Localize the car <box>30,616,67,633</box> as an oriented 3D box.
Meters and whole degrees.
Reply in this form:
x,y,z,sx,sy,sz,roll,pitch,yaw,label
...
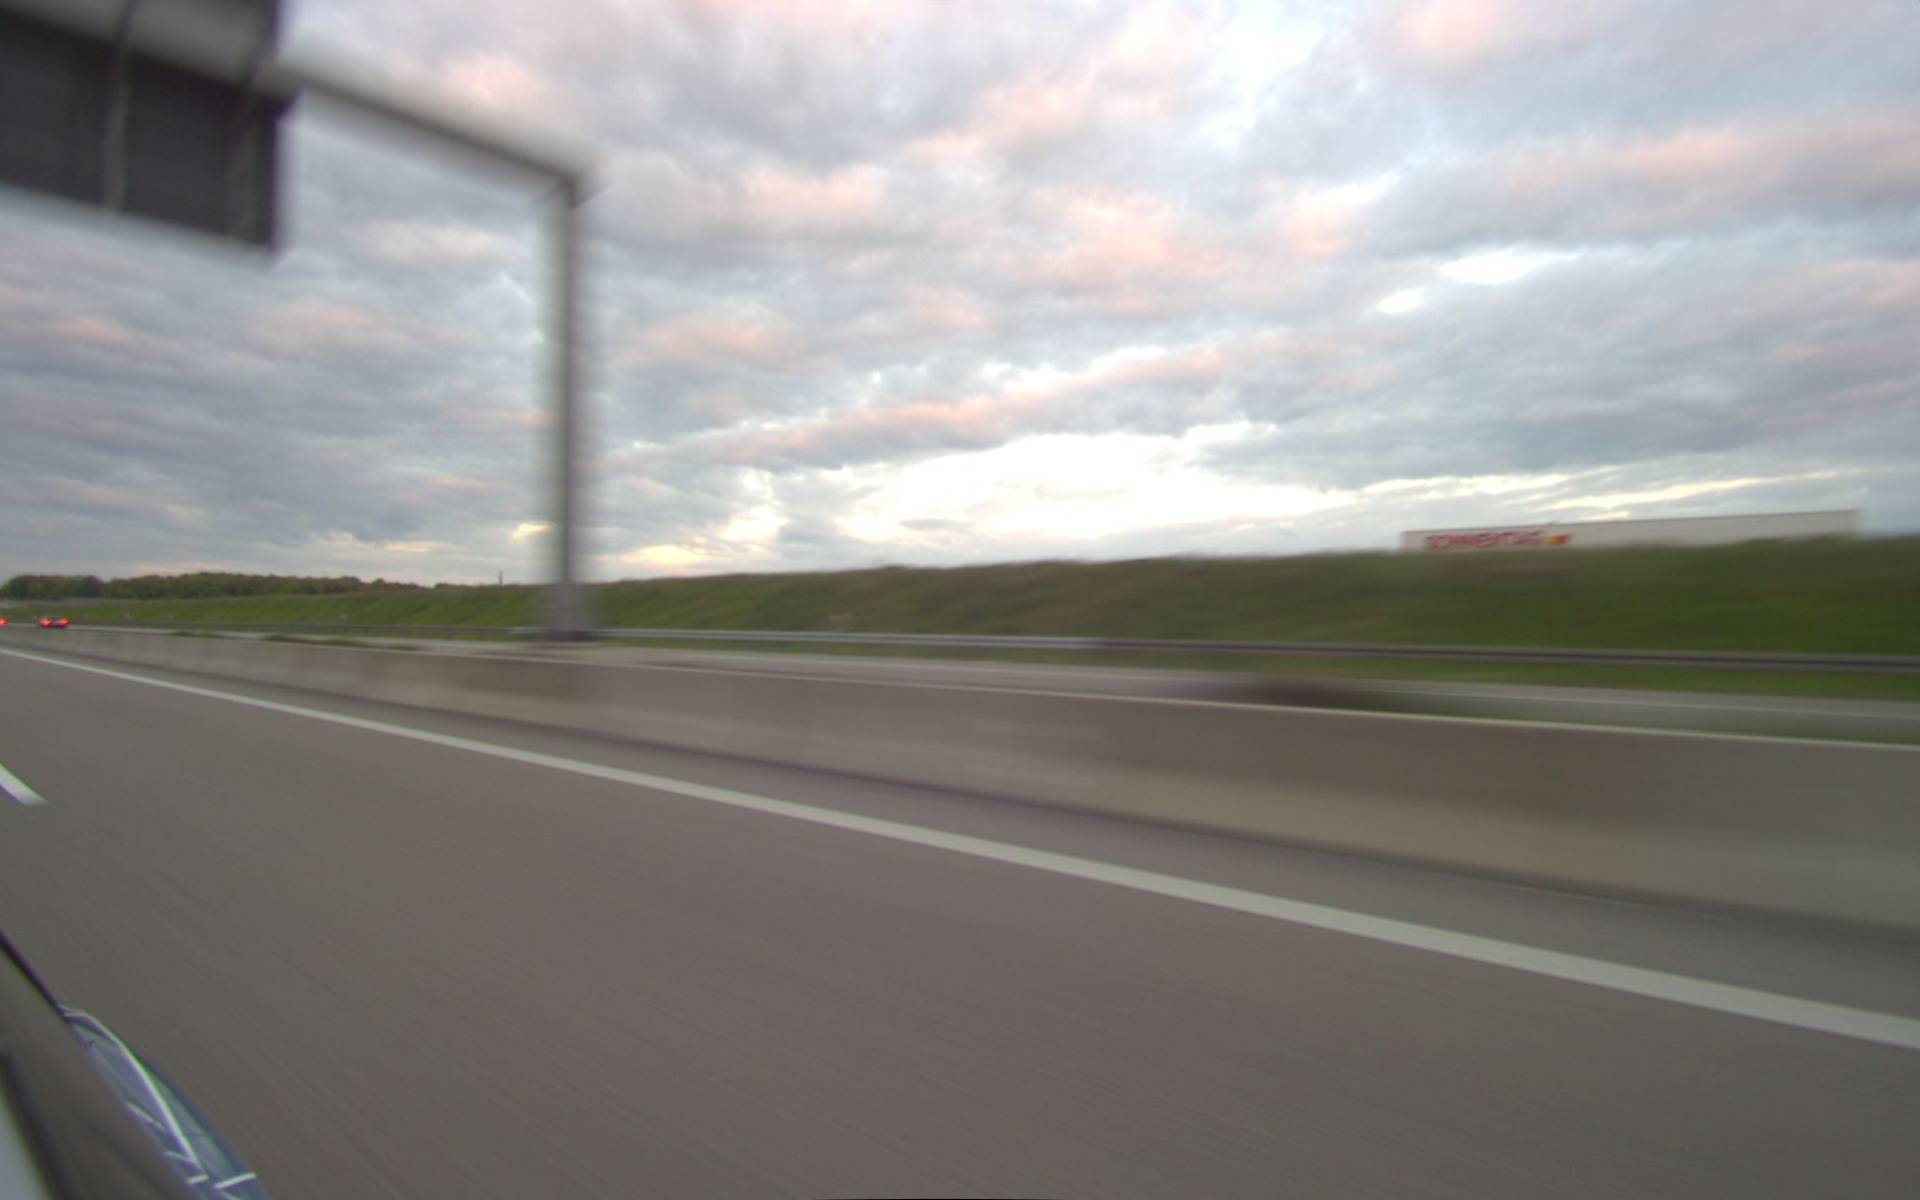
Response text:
x,y,z,sx,sy,sz,roll,pitch,yaw,label
-86.302,2.273,95.781,4.569,1.599,1.983,-1,-1,40,car
